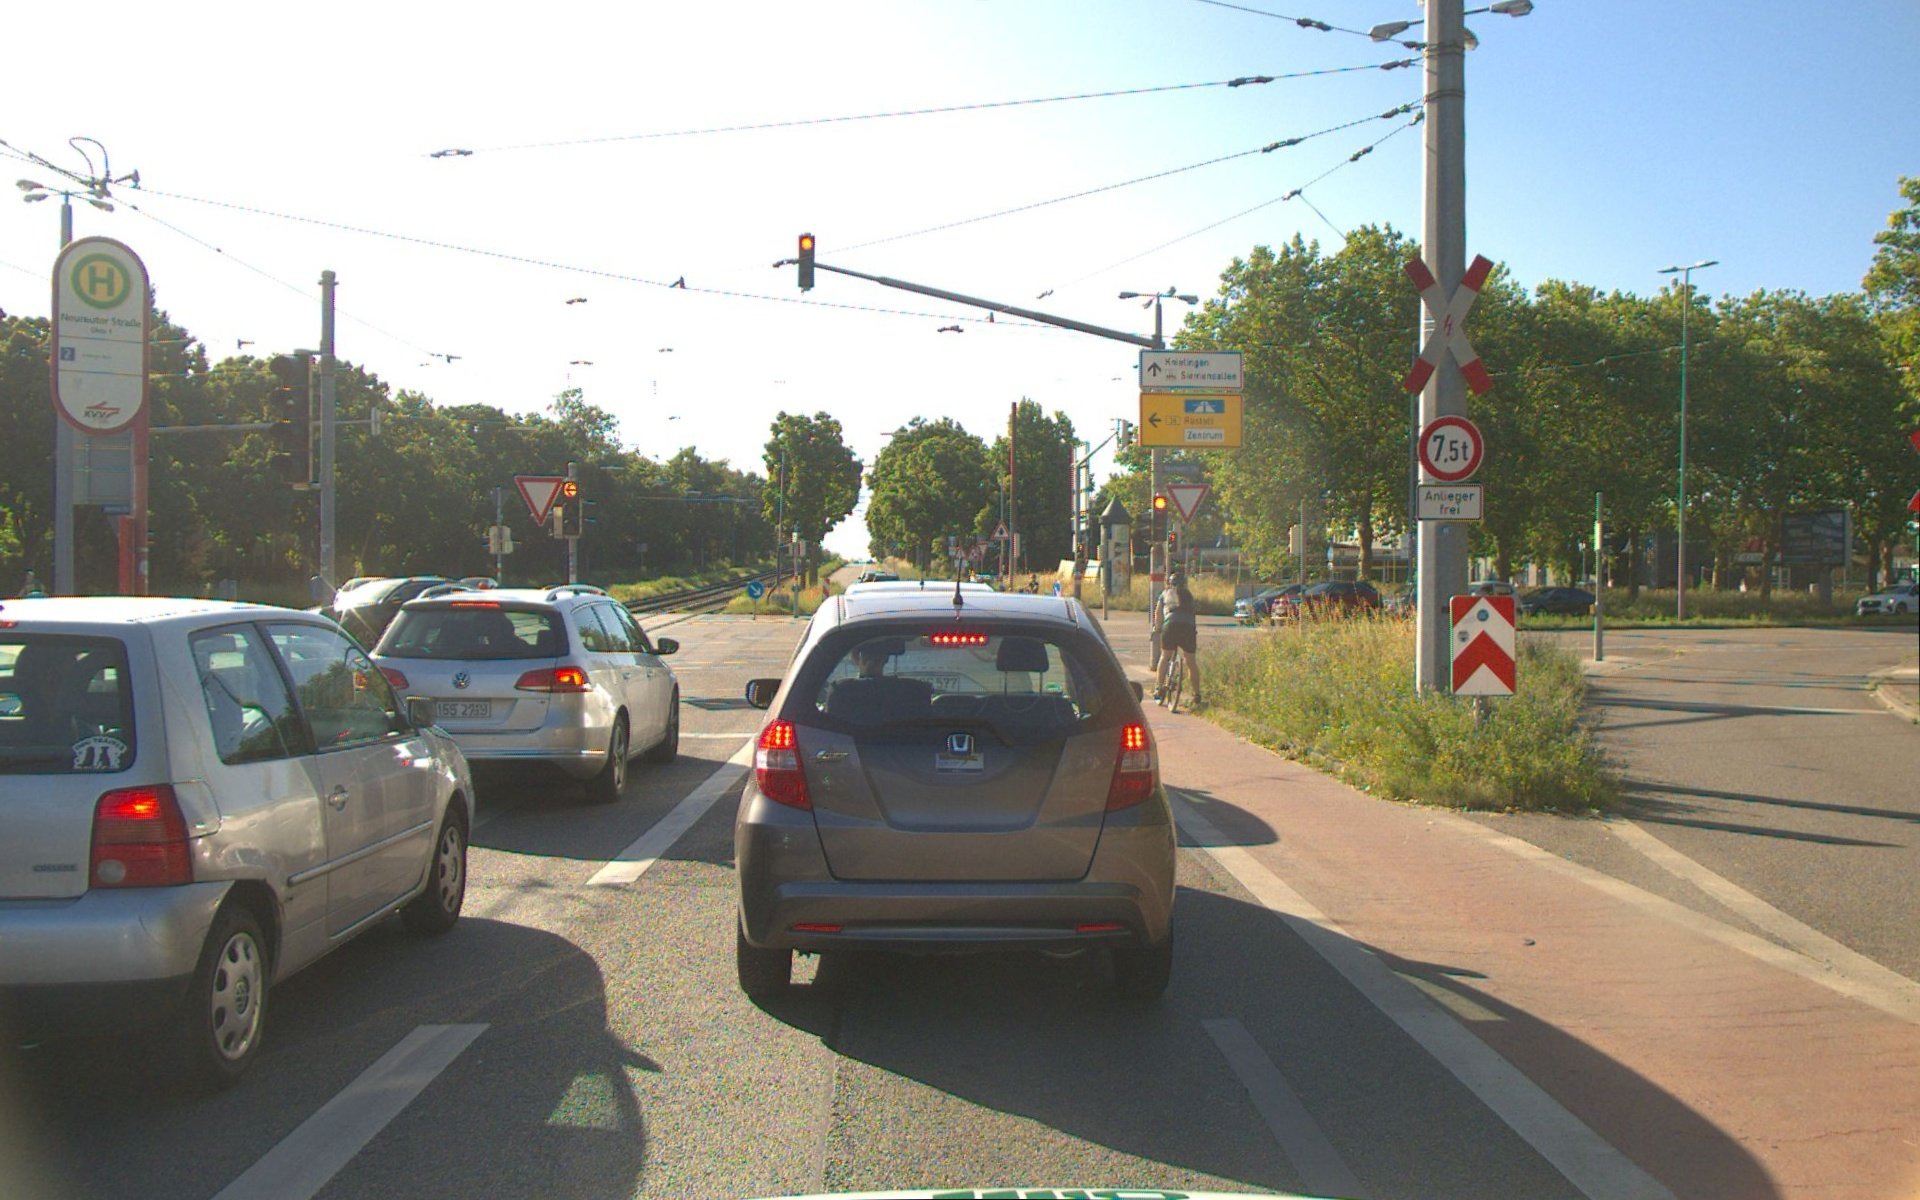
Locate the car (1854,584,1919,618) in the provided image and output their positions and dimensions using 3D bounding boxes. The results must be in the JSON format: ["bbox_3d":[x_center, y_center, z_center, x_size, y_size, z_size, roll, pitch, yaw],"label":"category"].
[{"bbox_3d":[42.978,0.028,75.831,3.939,1.527,1.579,-1,0,-27],"label":"car"}]

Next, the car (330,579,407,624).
[{"bbox_3d":[-21.316,0.040,59.747,1.798,1.575,3.993,0,0,-8],"label":"car"}]

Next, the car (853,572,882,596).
[{"bbox_3d":[-5.564,-0.969,99.228,1.494,1.403,3.671,0,0,-7],"label":"car"}]

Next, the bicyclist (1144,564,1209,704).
[{"bbox_3d":[2.766,0.430,21.203,0.652,1.746,0.948,1,0,-2],"label":"bicyclist"}]

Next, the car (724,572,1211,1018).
[{"bbox_3d":[-0.062,0.642,7.354,1.635,1.487,3.584,0,0,-3],"label":"car"}]

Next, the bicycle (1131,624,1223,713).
[{"bbox_3d":[2.754,0.843,21.282,0.707,1.006,2.875,1,0,-2],"label":"bicycle"}]

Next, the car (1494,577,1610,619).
[{"bbox_3d":[23.592,-0.097,65.867,4.450,1.601,1.681,0,0,-24],"label":"car"}]

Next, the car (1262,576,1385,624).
[{"bbox_3d":[12.359,-0.011,56.161,3.934,1.557,1.594,-1,1,-24],"label":"car"}]

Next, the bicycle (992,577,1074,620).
[{"bbox_3d":[2.786,-0.070,62.948,3.164,1.602,0.814,0,0,-26],"label":"bicycle"}]

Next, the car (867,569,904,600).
[{"bbox_3d":[-3.723,-0.751,82.155,1.676,1.504,3.996,0,0,-5],"label":"car"}]

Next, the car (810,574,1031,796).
[{"bbox_3d":[-0.333,0.601,13.985,1.578,1.589,4.287,0,0,-1],"label":"car"}]

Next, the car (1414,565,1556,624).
[{"bbox_3d":[19.022,-0.225,59.882,4.823,2.049,1.985,0,0,-24],"label":"car"}]

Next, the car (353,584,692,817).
[{"bbox_3d":[-3.154,0.657,12.724,1.586,1.482,4.084,1,0,-1],"label":"car"}]

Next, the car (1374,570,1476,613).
[{"bbox_3d":[17.833,-0.350,63.389,3.694,1.597,1.480,0,0,-24],"label":"car"}]

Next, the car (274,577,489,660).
[{"bbox_3d":[-11.626,0.326,33.465,1.559,1.571,3.971,0,1,34],"label":"car"}]

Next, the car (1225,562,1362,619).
[{"bbox_3d":[12.177,-0.326,60.447,4.626,1.912,1.985,2,0,-24],"label":"car"}]

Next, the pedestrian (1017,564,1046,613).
[{"bbox_3d":[2.730,-0.444,62.933,0.842,1.868,0.784,0,0,-26],"label":"pedestrian"}]

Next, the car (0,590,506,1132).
[{"bbox_3d":[-2.896,0.706,6.084,1.586,1.442,3.350,0,0,-1],"label":"car"}]
